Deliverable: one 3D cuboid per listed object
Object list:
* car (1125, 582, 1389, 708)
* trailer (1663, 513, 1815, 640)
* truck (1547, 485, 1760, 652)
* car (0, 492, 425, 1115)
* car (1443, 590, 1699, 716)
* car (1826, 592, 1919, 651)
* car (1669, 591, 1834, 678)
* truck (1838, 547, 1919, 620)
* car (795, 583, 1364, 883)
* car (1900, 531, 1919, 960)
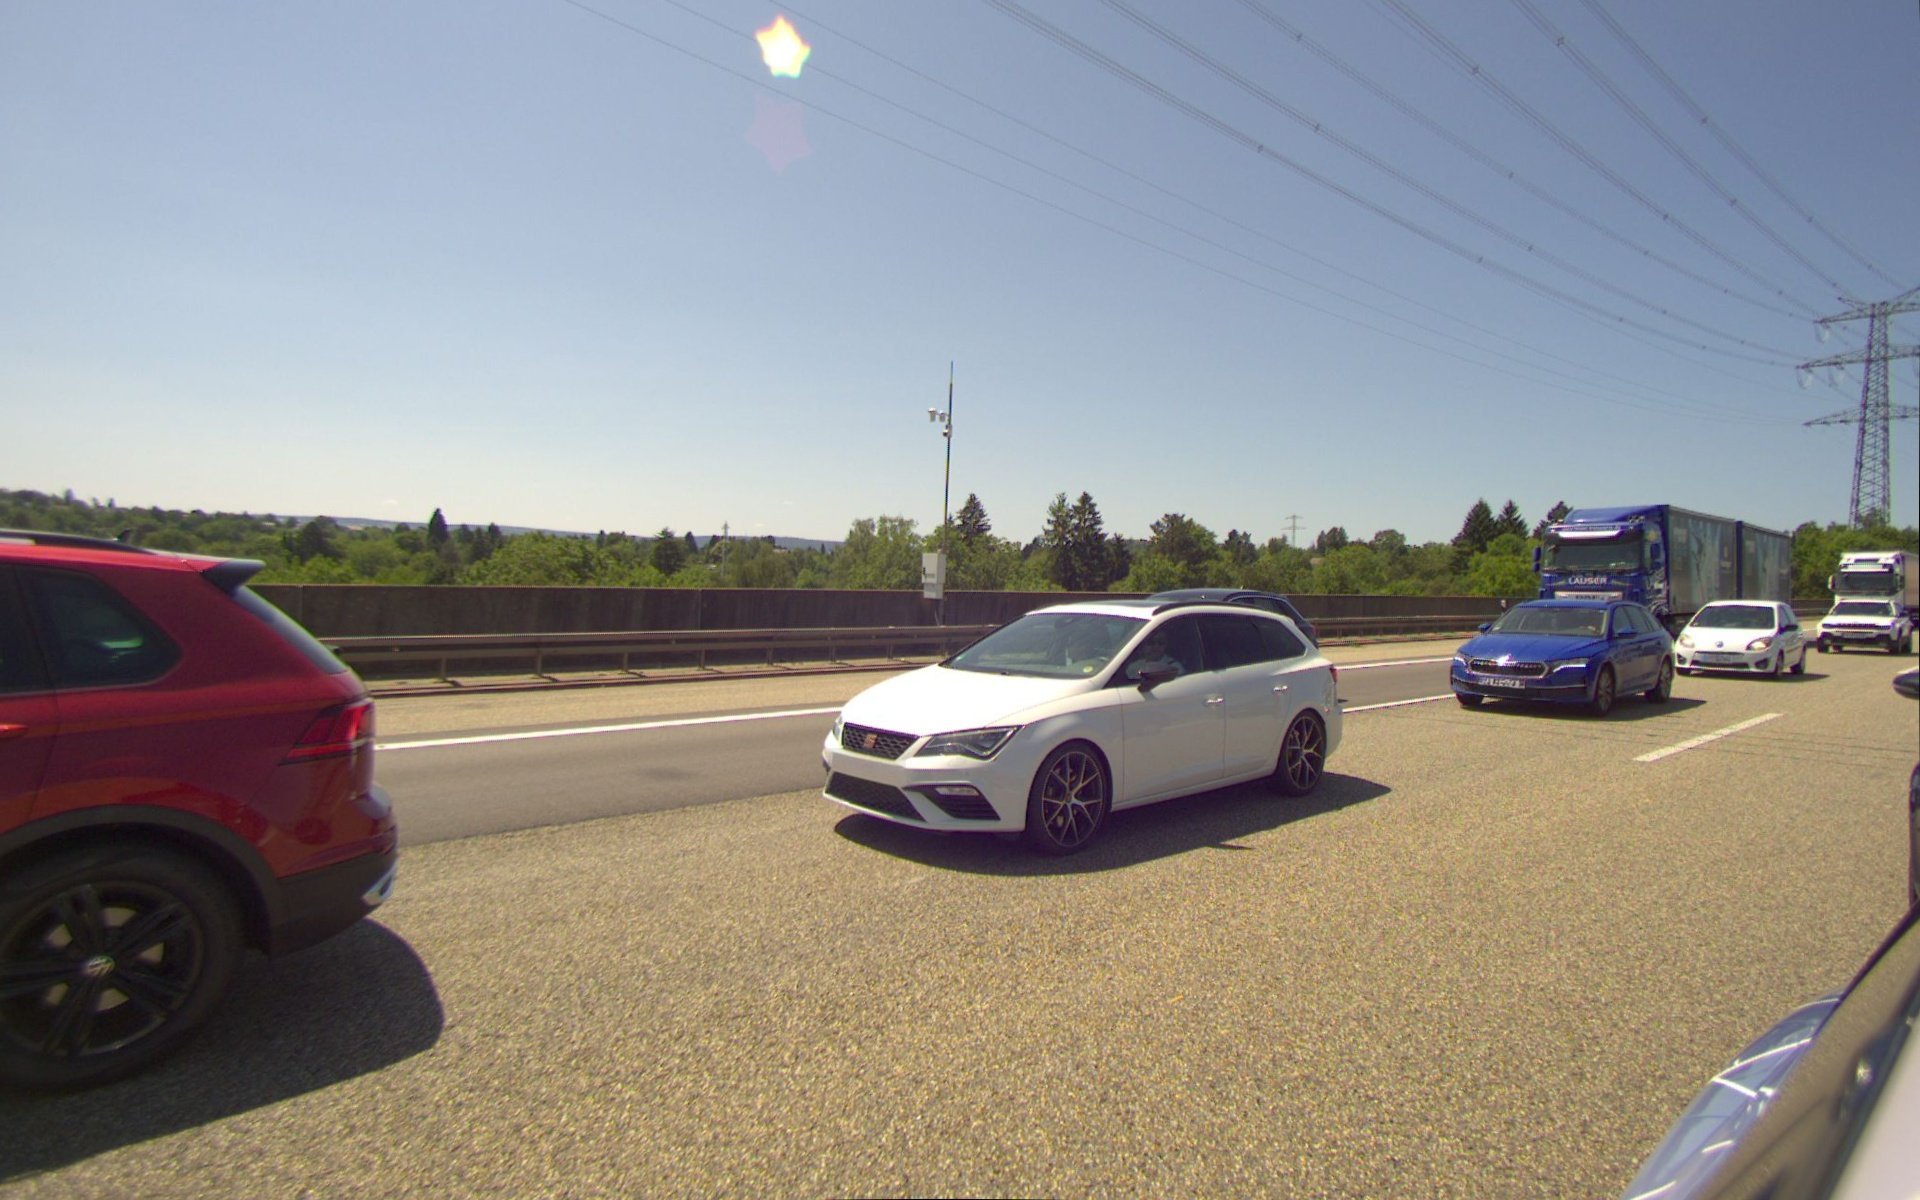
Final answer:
[{"bbox_3d":[4.342,0.545,14.490,4.034,1.546,1.739,0,0,-41],"label":"car"},{"bbox_3d":[27.424,-0.754,35.460,8.329,3.995,2.571,0,0,-40],"label":"trailer"},{"bbox_3d":[20.378,-0.799,29.380,10.263,4.118,2.527,0,0,-40],"label":"truck"},{"bbox_3d":[-3.944,0.534,2.715,4.151,1.683,1.778,0,1,-41],"label":"car"},{"bbox_3d":[8.482,0.619,13.913,4.135,1.463,1.739,0,1,-40],"label":"car"},{"bbox_3d":[26.029,0.567,28.655,4.024,1.522,1.761,0,1,-42],"label":"car"},{"bbox_3d":[15.724,0.608,20.043,4.021,1.522,1.762,0,1,-40],"label":"car"},{"bbox_3d":[50.443,-0.874,54.738,10.776,3.604,2.983,0,0,-41],"label":"truck"},{"bbox_3d":[1.032,0.659,7.138,4.003,1.508,1.841,0,0,-42],"label":"car"},{"bbox_3d":[5.763,0.563,4.649,3.931,1.683,1.738,0,0,-41],"label":"car"}]
